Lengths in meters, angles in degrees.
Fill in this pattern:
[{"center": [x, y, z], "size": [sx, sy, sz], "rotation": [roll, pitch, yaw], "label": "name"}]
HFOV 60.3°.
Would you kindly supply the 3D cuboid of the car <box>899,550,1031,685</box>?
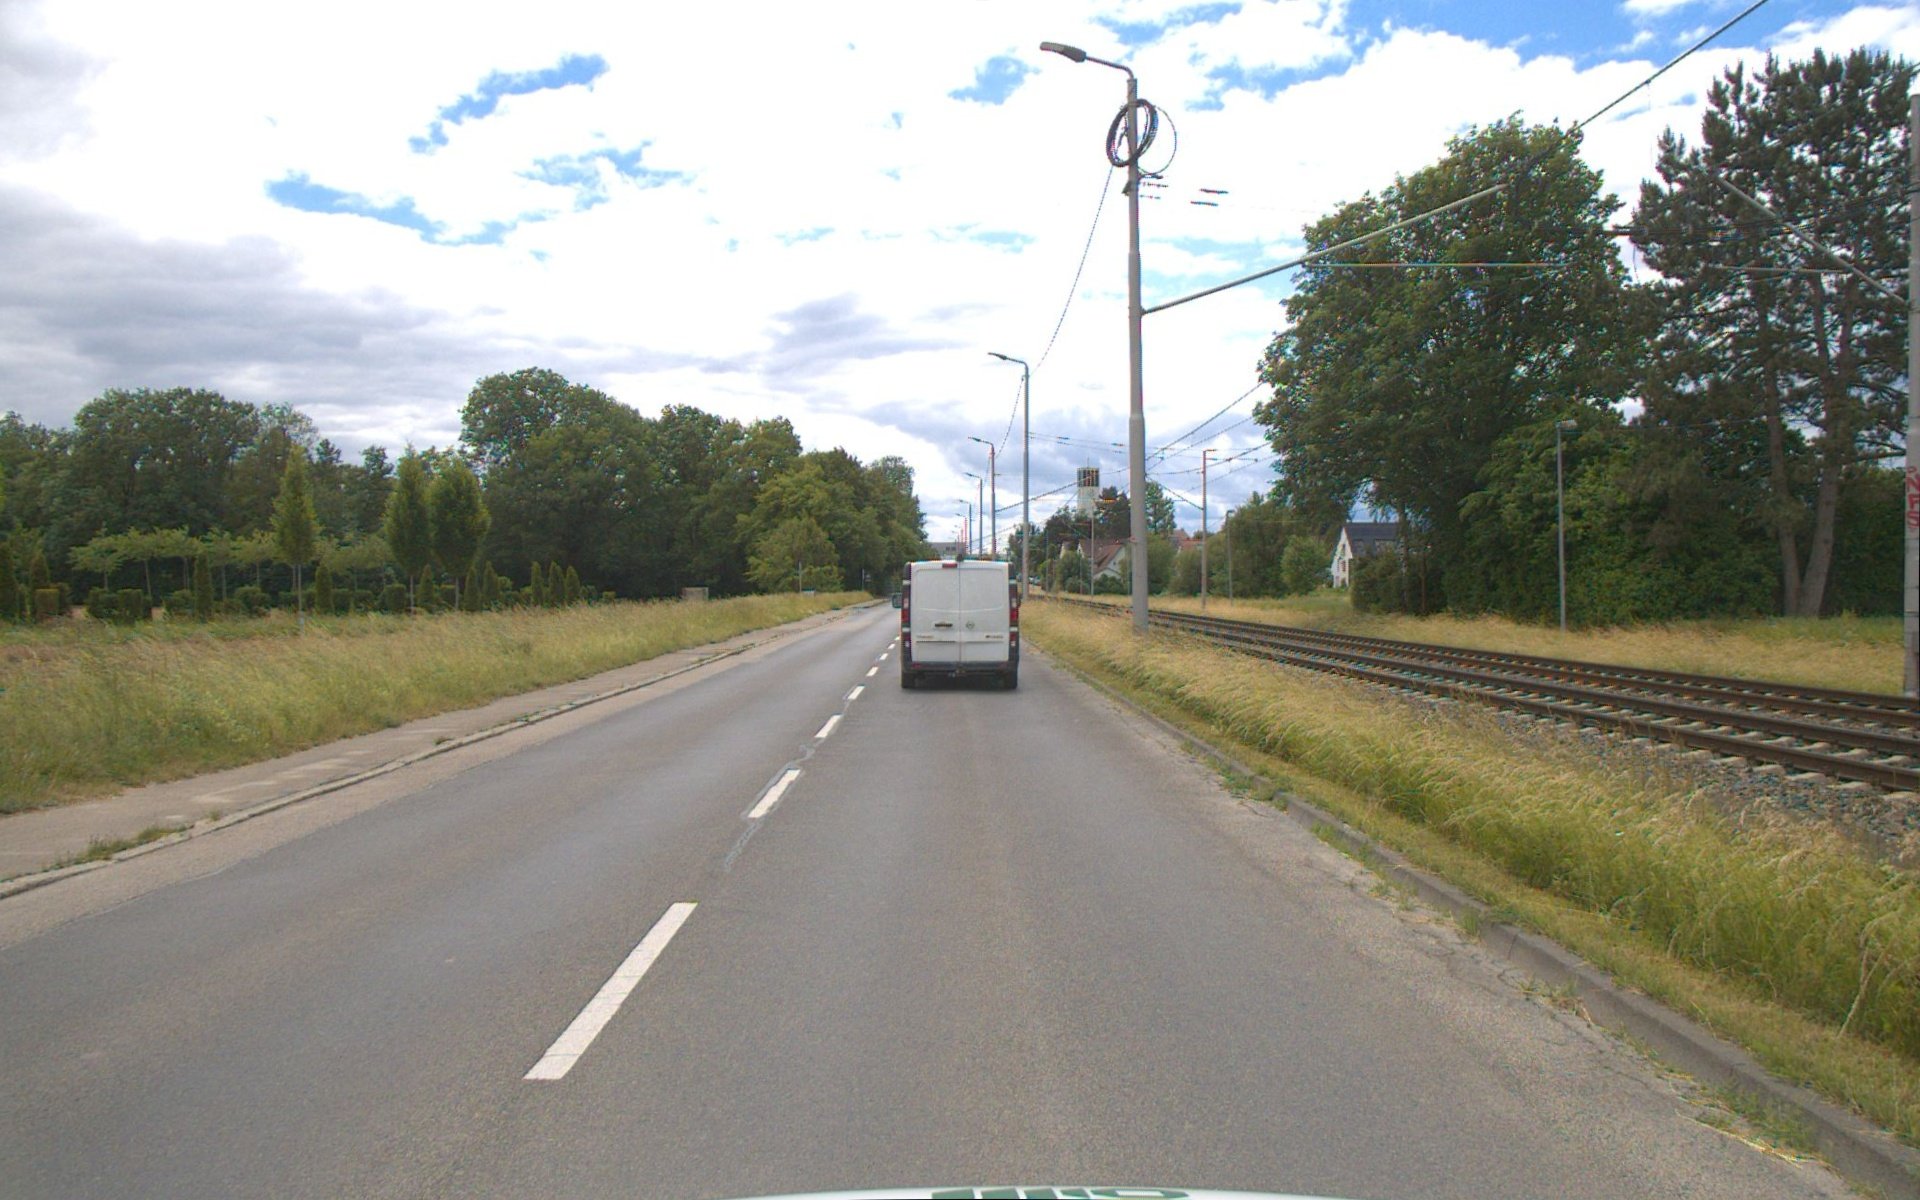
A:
[{"center": [0.023, 0.237, 26.598], "size": [1.953, 1.991, 3.999], "rotation": [0, 1, -2], "label": "car"}]
